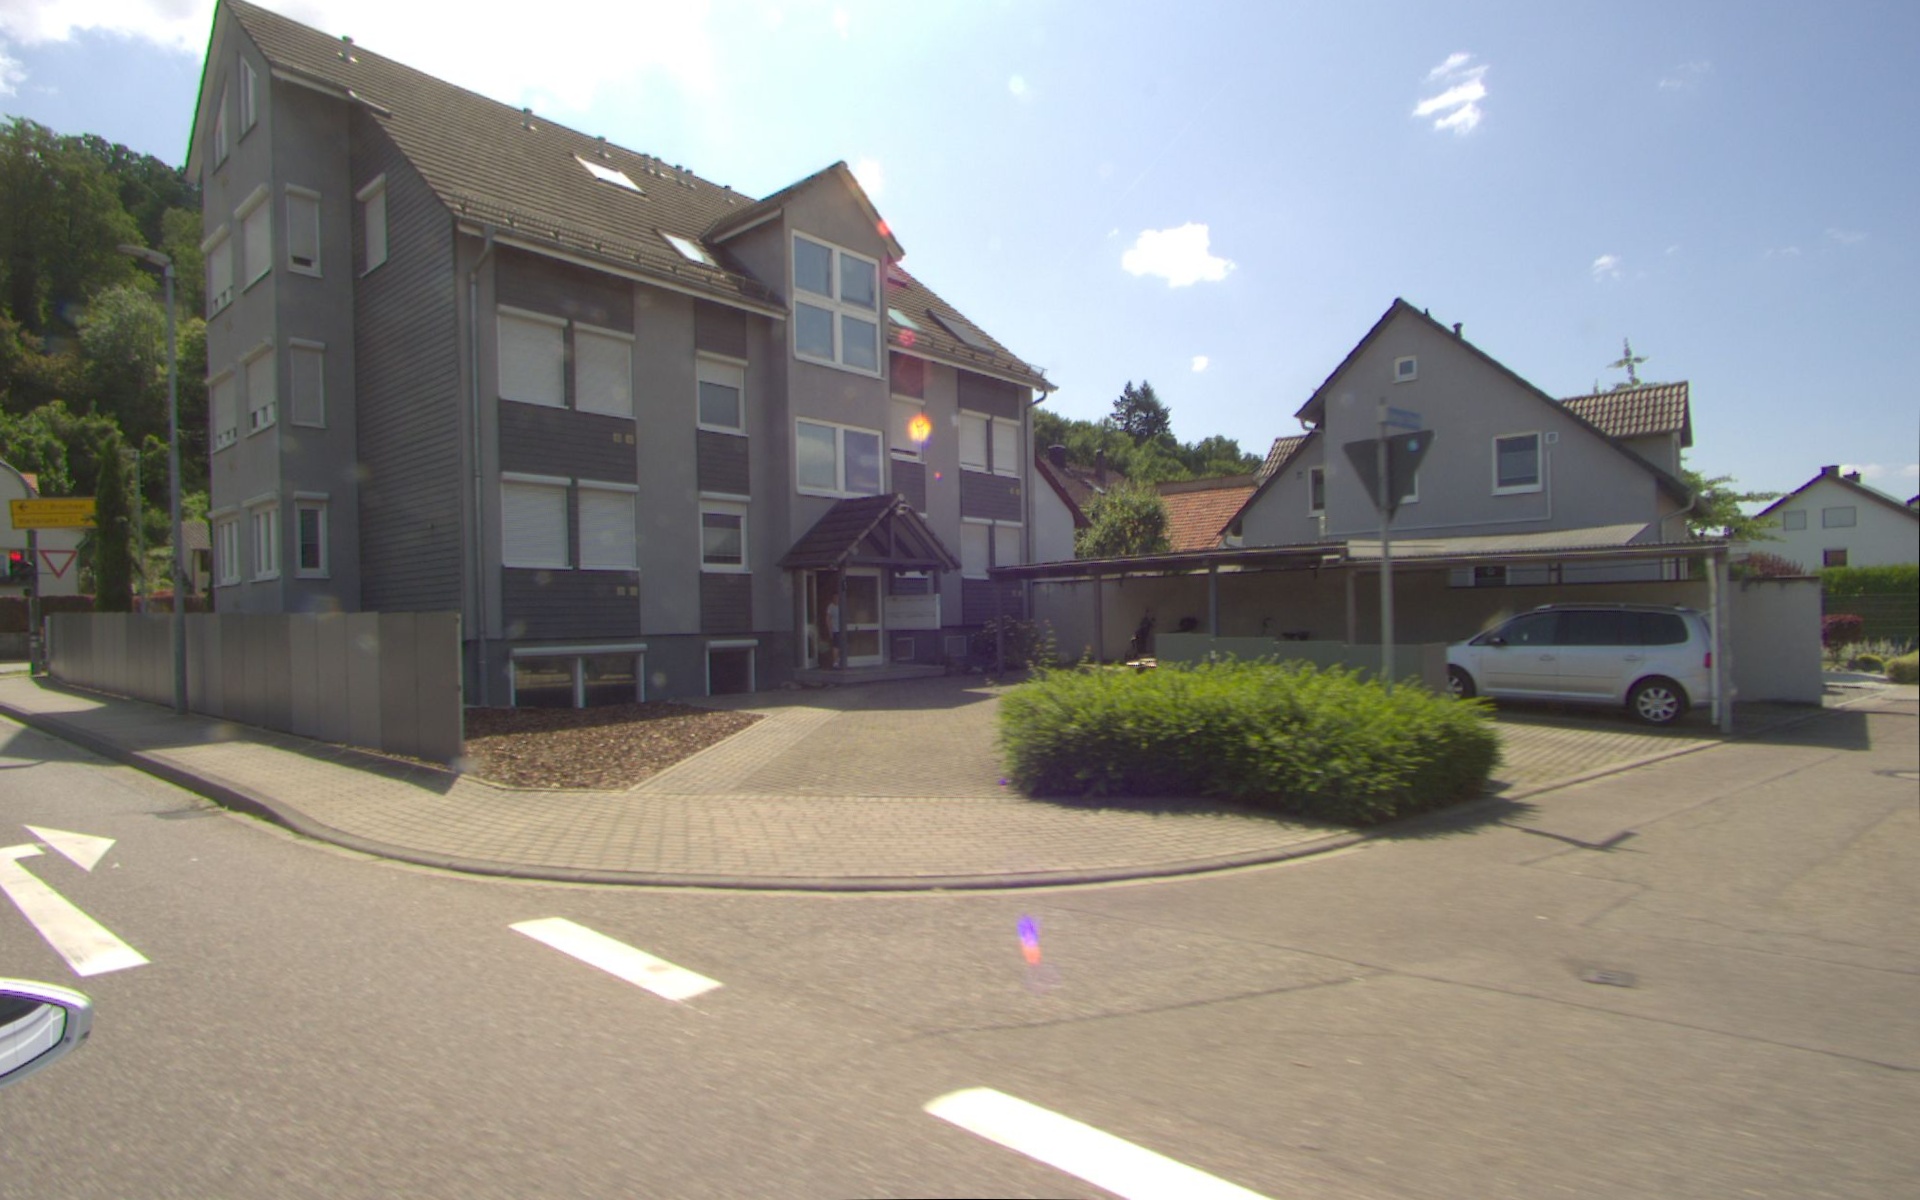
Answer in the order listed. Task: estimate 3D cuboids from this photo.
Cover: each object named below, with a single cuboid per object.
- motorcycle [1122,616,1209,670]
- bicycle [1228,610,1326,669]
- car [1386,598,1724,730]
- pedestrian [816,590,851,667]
[{"bbox_3d":[4.821,0.989,23.563,1.930,1.179,0.644,1,1,42],"label":"motorcycle"},{"bbox_3d":[6.873,0.838,21.796,1.930,1.188,0.644,1,1,42],"label":"bicycle"},{"bbox_3d":[8.924,0.848,15.218,4.165,1.671,1.728,1,2,41],"label":"car"},{"bbox_3d":[-2.572,0.576,20.370,0.477,1.549,0.531,0,0,39],"label":"pedestrian"}]
